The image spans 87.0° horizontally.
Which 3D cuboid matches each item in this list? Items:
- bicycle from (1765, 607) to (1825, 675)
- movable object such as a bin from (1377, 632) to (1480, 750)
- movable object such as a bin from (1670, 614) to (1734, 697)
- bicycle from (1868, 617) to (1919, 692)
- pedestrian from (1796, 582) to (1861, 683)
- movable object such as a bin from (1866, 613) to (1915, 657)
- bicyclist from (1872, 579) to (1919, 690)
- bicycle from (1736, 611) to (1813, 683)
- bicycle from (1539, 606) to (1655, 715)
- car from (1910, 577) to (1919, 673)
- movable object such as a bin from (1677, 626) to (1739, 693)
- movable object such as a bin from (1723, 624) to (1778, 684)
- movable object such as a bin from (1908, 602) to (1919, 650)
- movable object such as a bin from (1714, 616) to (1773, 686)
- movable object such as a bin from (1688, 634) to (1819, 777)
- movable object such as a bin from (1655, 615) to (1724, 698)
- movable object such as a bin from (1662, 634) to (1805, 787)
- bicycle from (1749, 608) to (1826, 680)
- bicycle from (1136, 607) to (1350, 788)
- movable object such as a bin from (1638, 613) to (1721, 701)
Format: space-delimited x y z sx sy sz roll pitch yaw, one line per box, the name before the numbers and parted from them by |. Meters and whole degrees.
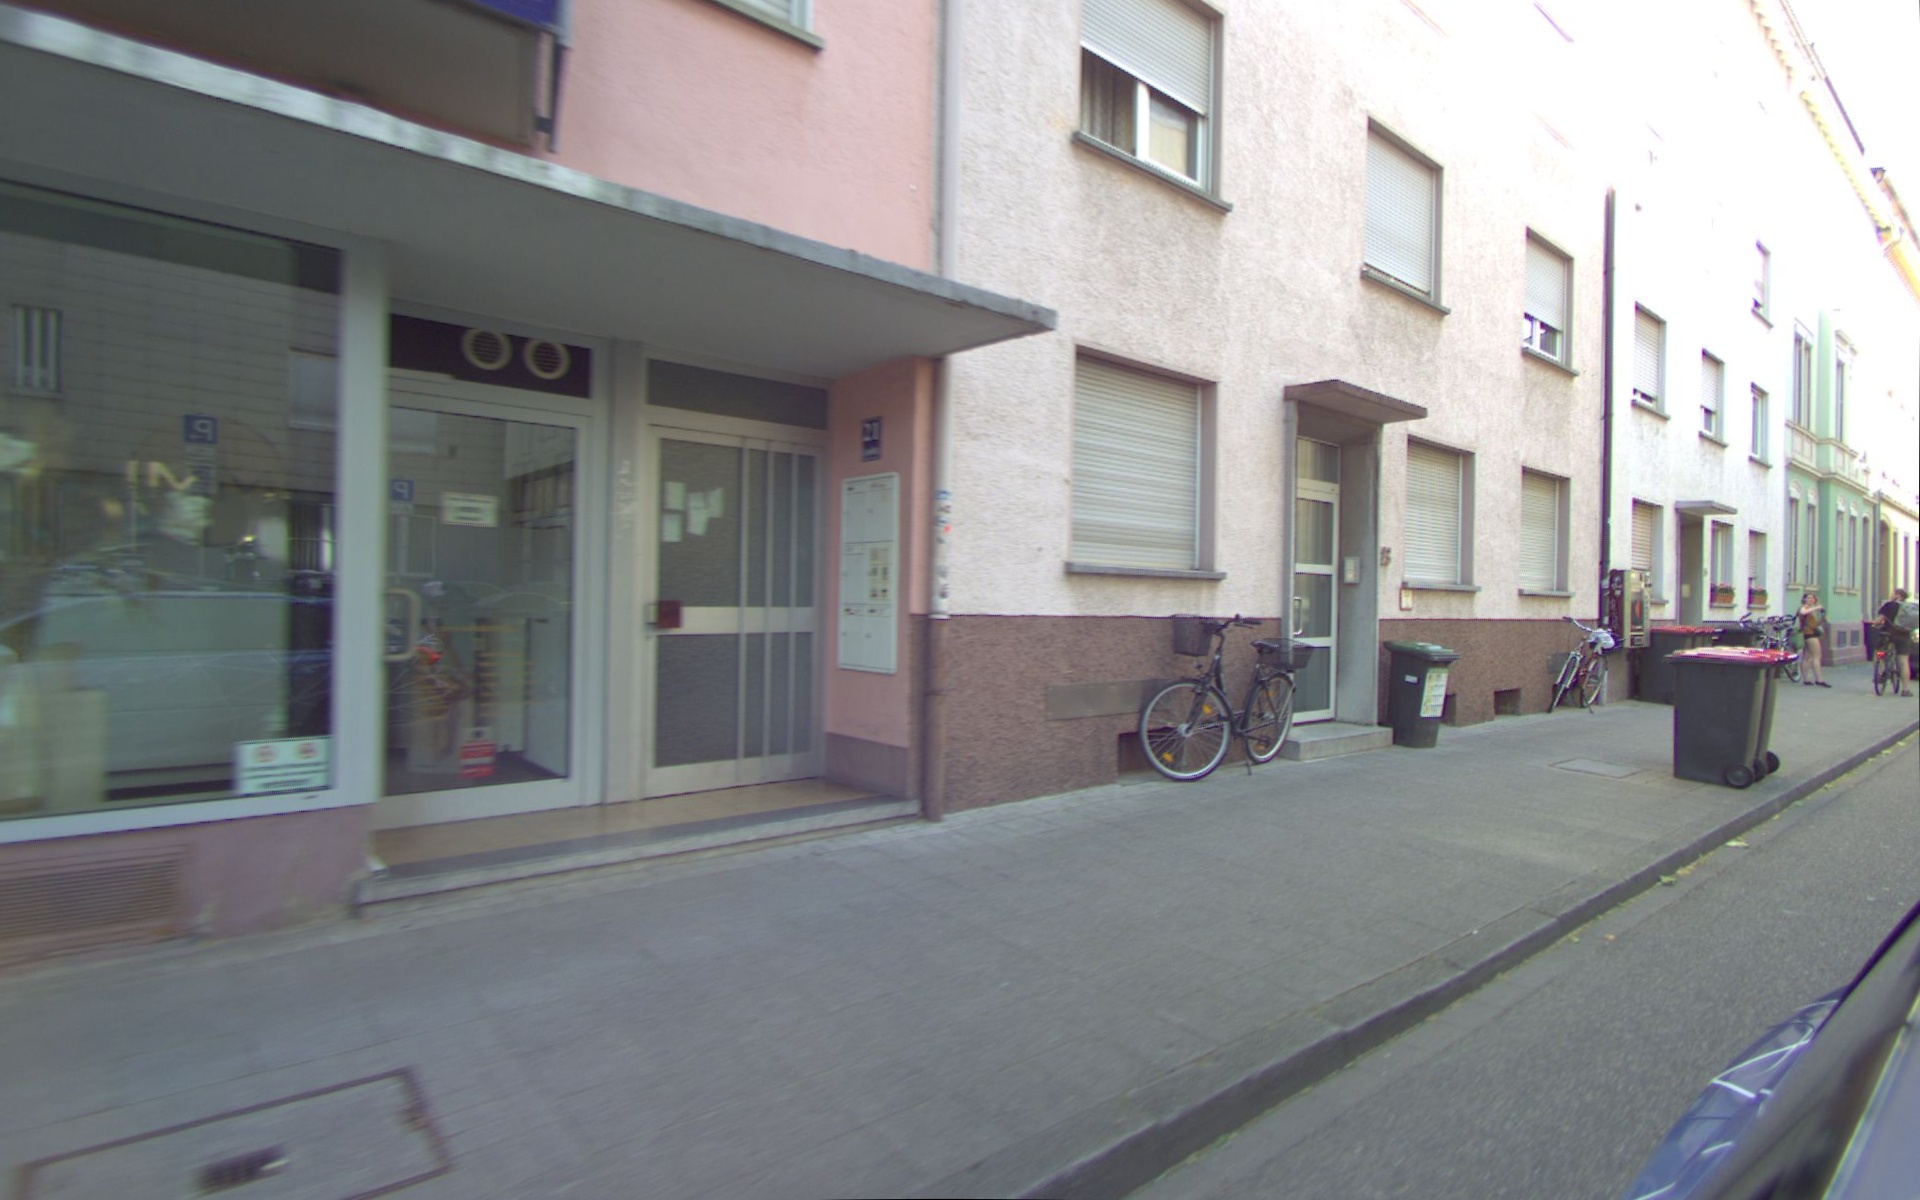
bicycle | 15.978 0.763 19.357 2.119 1.221 0.406 0 1 -37
movable object such as a bin | 4.195 0.791 9.068 0.670 0.963 0.599 0 1 -39
movable object such as a bin | 10.782 0.787 14.712 0.559 1.136 0.629 0 1 -39
bicycle | 15.807 0.888 16.930 1.954 1.151 0.664 2 2 -43
pedestrian | 15.384 0.555 17.934 0.672 1.733 0.658 0 1 -28
movable object such as a bin | 24.104 0.895 26.218 0.661 1.102 0.814 0 1 -38
bicyclist | 15.901 0.570 16.954 0.808 1.792 0.761 2 2 -42
bicycle | 14.259 0.790 17.697 1.833 1.168 0.570 0 1 -36
bicycle | 7.756 0.694 12.283 2.040 1.184 0.538 1 4 -41
car | 21.784 0.595 21.267 5.501 1.906 1.988 1 4 -41
movable object such as a bin | 11.210 0.874 15.169 0.594 0.946 0.607 1 0 -39
movable object such as a bin | 13.249 0.897 16.962 0.597 0.936 0.578 1 3 -40
movable object such as a bin | 29.566 0.802 30.812 1.275 1.406 0.839 -2 4 -42
movable object such as a bin | 12.813 0.825 16.552 0.592 1.075 0.617 1 2 -40
movable object such as a bin | 6.732 0.862 8.591 0.691 1.094 0.734 0 1 -39
movable object such as a bin | 10.355 0.789 14.362 0.582 1.119 0.658 1 0 -39
movable object such as a bin | 6.207 0.848 8.127 0.680 1.100 0.769 0 1 -39
bicycle | 15.061 0.774 18.406 2.222 1.221 0.439 0 1 -34
bicycle | 2.105 0.645 7.376 1.885 1.148 0.454 0 3 -39
movable object such as a bin | 9.923 0.763 13.969 0.628 1.111 0.741 0 3 -39
